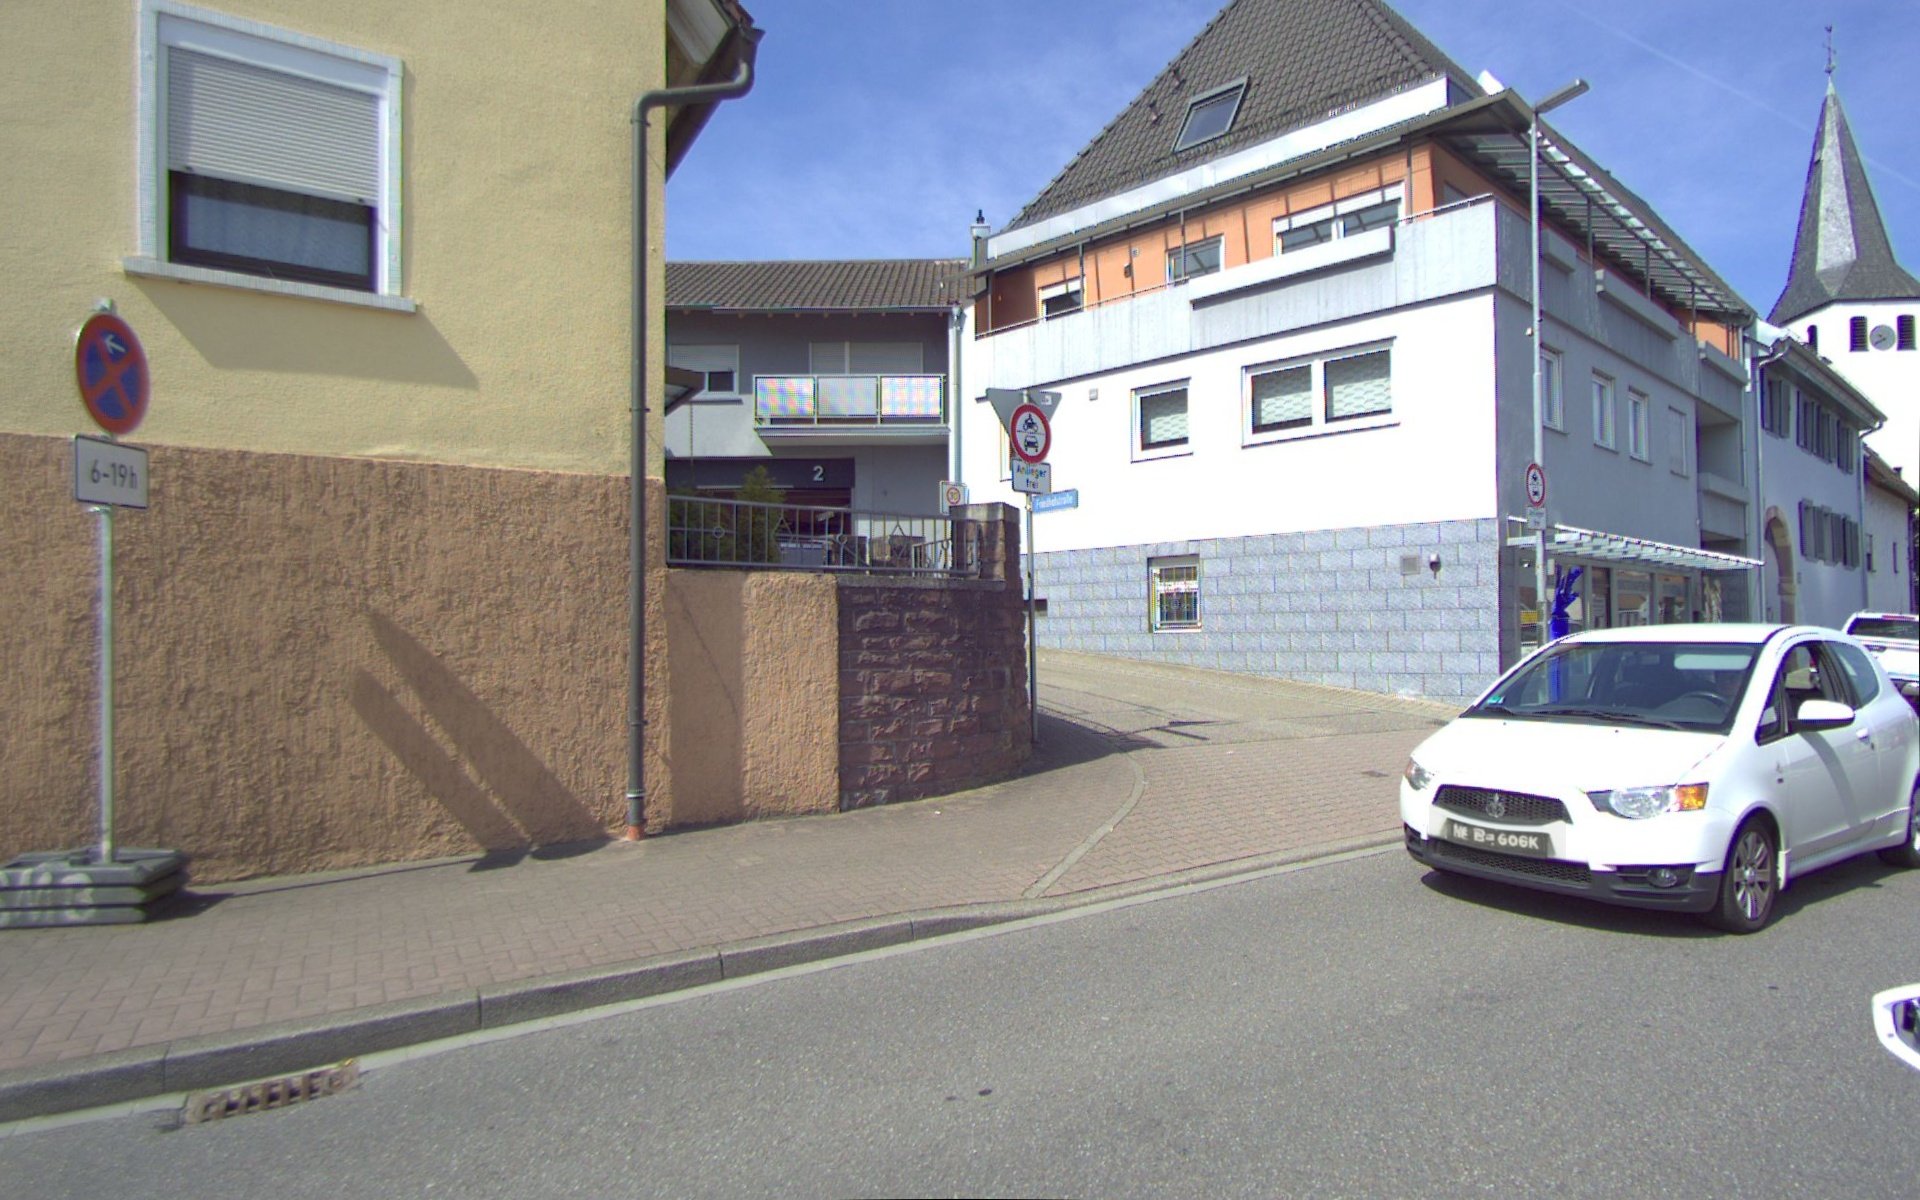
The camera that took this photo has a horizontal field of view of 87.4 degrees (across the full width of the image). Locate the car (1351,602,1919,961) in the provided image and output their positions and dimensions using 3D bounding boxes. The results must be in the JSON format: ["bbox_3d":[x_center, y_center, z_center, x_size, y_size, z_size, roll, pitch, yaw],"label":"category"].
[{"bbox_3d":[4.335,0.850,6.133,3.769,1.562,1.720,1,-2,-32],"label":"car"}]

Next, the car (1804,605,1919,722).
[{"bbox_3d":[17.260,1.081,18.269,5.237,1.822,1.791,1,2,-38],"label":"car"}]
